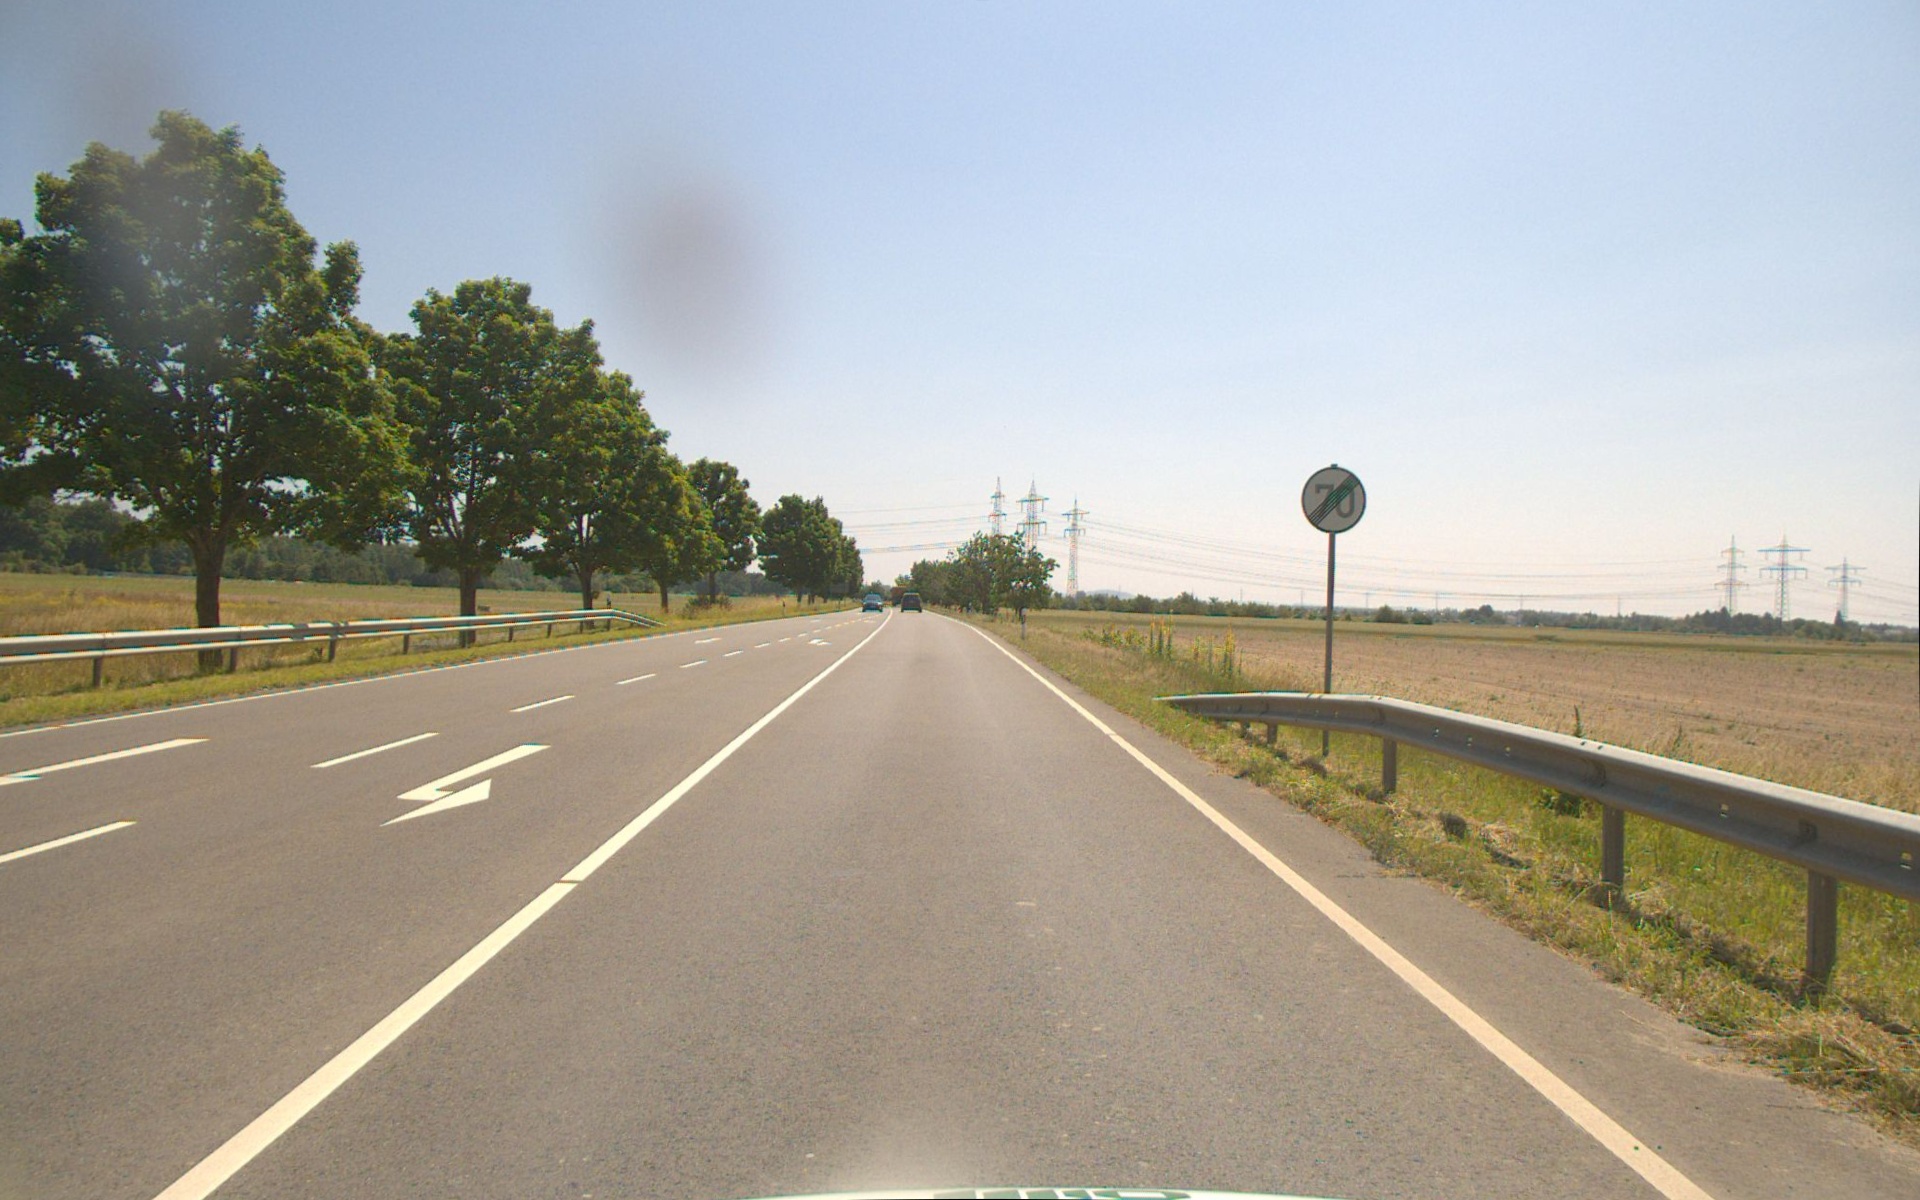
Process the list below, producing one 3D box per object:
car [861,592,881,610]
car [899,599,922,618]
[{"bbox_3d":[-7.749,0.099,144.769,1.704,1.499,4.616,1,0,-3],"label":"car"},{"bbox_3d":[-4.458,0.710,147.884,1.847,1.544,4.037,4,0,-3],"label":"car"}]
